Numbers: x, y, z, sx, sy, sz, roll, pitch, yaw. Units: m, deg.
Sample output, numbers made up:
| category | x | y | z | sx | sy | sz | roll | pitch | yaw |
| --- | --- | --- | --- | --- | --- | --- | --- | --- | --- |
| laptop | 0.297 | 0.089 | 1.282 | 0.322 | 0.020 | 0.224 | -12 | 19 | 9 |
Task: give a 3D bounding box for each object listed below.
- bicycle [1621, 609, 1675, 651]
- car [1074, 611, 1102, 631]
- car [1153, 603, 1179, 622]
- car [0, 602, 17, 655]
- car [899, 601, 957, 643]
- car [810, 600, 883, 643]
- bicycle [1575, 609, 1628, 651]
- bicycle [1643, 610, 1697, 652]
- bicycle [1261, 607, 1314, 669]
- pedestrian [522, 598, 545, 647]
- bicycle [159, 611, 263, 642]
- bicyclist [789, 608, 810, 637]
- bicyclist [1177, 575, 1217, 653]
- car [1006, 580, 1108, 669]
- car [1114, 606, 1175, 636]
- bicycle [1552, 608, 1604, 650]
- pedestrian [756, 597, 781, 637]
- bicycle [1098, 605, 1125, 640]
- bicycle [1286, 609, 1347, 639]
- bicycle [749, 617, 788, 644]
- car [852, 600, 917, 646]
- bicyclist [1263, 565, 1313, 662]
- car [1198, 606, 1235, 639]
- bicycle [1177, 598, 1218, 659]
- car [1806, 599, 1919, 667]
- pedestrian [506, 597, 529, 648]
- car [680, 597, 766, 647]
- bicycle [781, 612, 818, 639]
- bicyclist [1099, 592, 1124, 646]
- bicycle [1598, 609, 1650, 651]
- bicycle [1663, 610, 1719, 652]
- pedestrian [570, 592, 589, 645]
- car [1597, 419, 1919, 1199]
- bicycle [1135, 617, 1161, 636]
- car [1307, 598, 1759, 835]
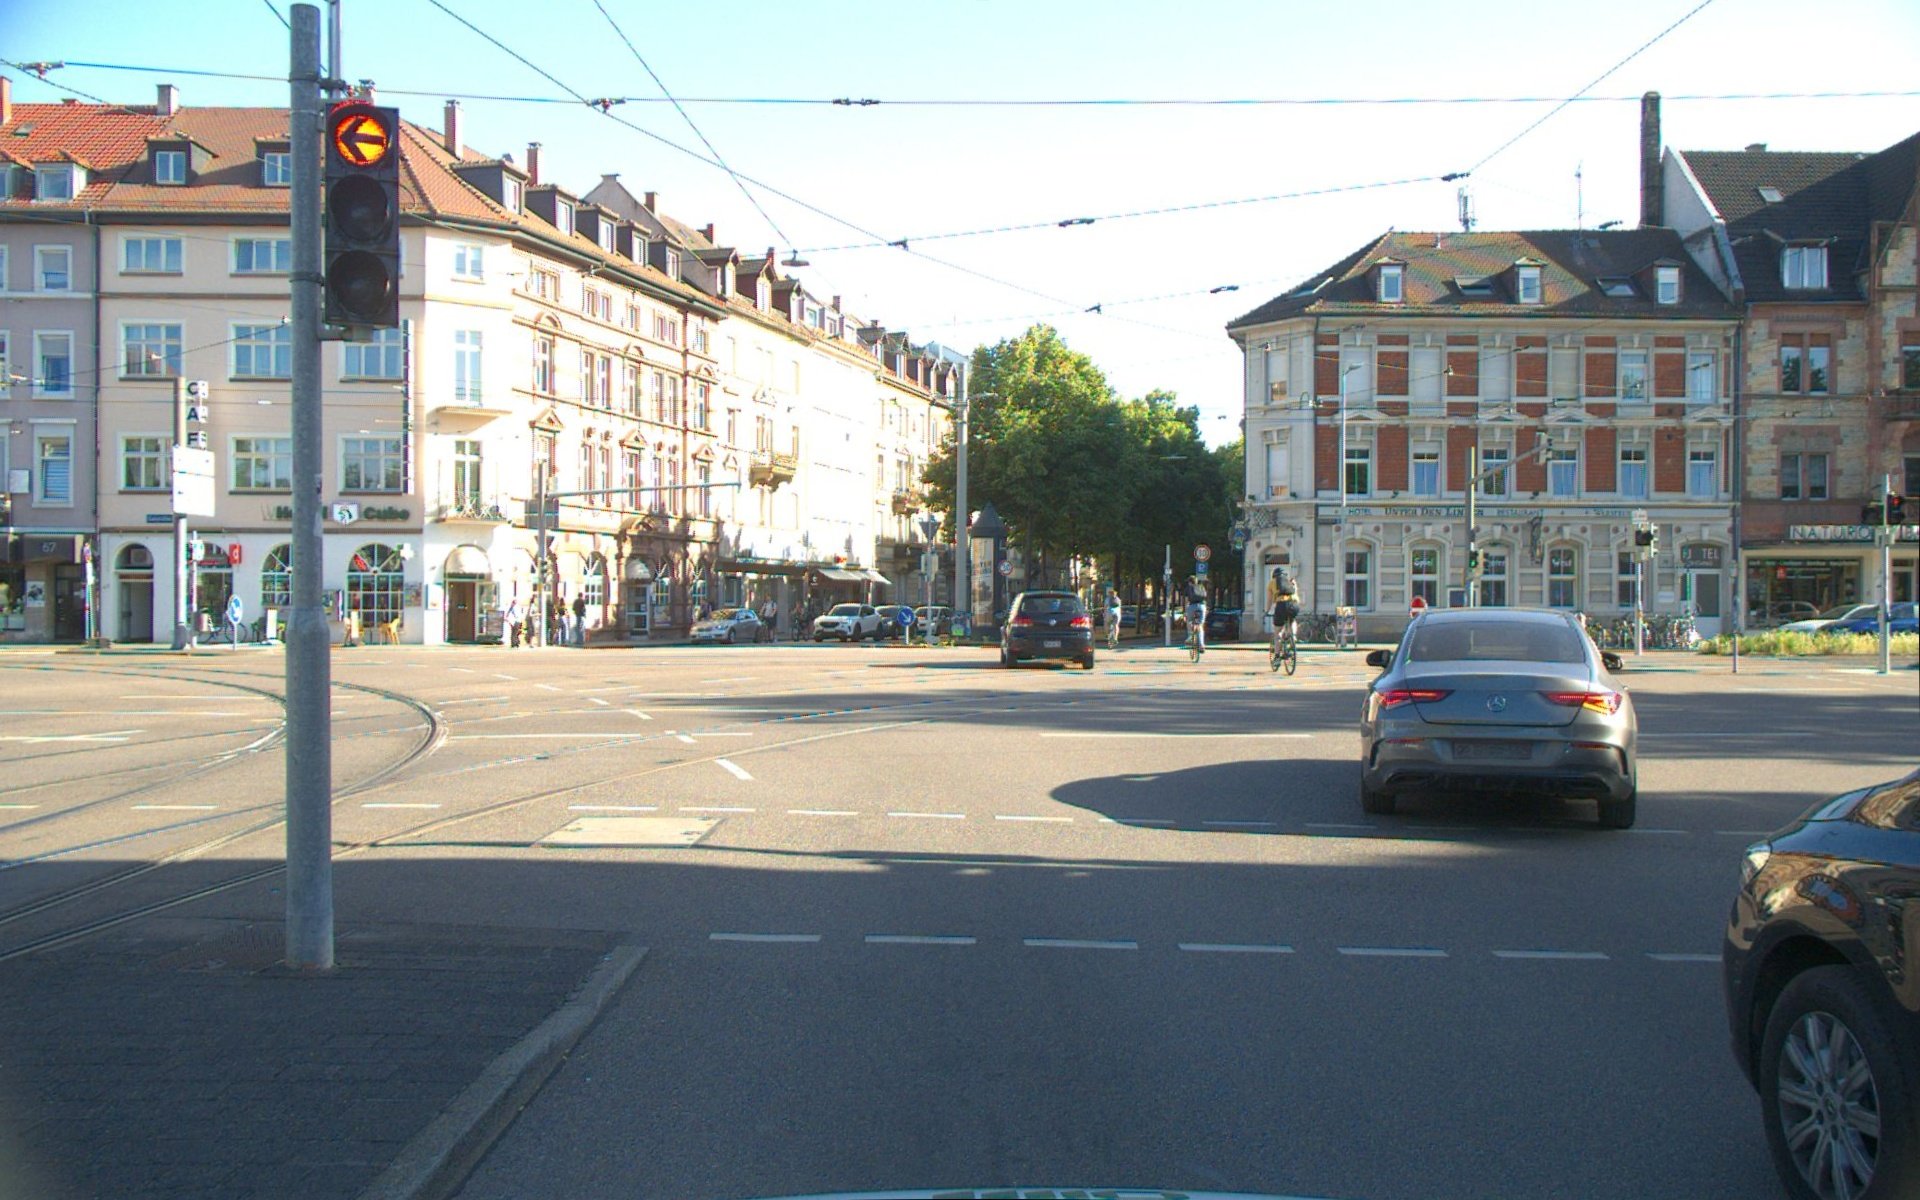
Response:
| category | x | y | z | sx | sy | sz | roll | pitch | yaw |
| --- | --- | --- | --- | --- | --- | --- | --- | --- | --- |
| bicycle | 22.086 | 0.955 | 53.154 | 0.615 | 1.309 | 2.661 | 1 | 0 | 0 |
| car | 10.537 | 1.719 | 136.217 | 1.526 | 1.540 | 3.658 | 1 | 0 | 16 |
| car | 16.790 | 1.040 | 134.849 | 1.526 | 1.540 | 3.658 | 1 | 0 | 16 |
| car | -32.384 | 0.913 | 52.433 | 3.902 | 1.699 | 2.002 | 0 | 0 | 8 |
| car | -1.511 | 1.063 | 79.766 | 1.951 | 1.937 | 4.003 | 1 | 0 | 11 |
| car | -4.575 | 0.869 | 67.124 | 1.951 | 1.646 | 4.003 | 1 | 0 | 11 |
| bicycle | 20.597 | 0.935 | 53.129 | 0.678 | 1.309 | 2.661 | 1 | 0 | 0 |
| bicycle | 22.800 | 0.969 | 53.178 | 0.615 | 1.309 | 2.661 | 1 | 0 | 0 |
| bicycle | 5.879 | 0.666 | 29.625 | 0.739 | 1.049 | 1.781 | 1 | 0 | 17 |
| pedestrian | -14.685 | 0.776 | 57.020 | 0.620 | 1.662 | 0.700 | 1 | -1 | -4 |
| bicycle | -25.514 | 0.898 | 56.354 | 3.066 | 0.997 | 1.001 | 1 | 0 | -1 |
| bicyclist | -6.818 | 0.943 | 70.190 | 0.618 | 1.205 | 0.685 | 1 | -1 | 20 |
| bicyclist | 5.093 | 0.298 | 35.611 | 0.789 | 1.634 | 0.884 | 1 | 0 | 5 |
| car | 1.862 | 0.432 | 32.720 | 1.693 | 1.534 | 4.050 | 1 | 2 | -1 |
| car | 12.854 | 1.455 | 115.154 | 3.902 | 1.937 | 2.001 | 1 | 0 | 15 |
| bicycle | 19.838 | 0.910 | 53.126 | 0.678 | 1.309 | 2.661 | 1 | 0 | 0 |
| pedestrian | -7.539 | 0.664 | 65.090 | 0.803 | 1.539 | 0.598 | 1 | -1 | 14 |
| bicycle | 4.704 | 0.699 | 51.483 | 0.636 | 1.049 | 1.771 | 1 | 0 | -1 |
| bicycle | 12.352 | 0.824 | 57.320 | 2.006 | 1.015 | 0.631 | 0 | -1 | 2 |
| bicycle | -7.527 | 1.203 | 65.161 | 0.746 | 1.025 | 2.398 | 1 | 0 | 13 |
| car | -3.332 | 1.007 | 73.670 | 1.951 | 1.937 | 4.003 | 1 | 0 | 11 |
| bicyclist | 5.832 | 0.240 | 29.387 | 0.789 | 1.692 | 0.884 | 1 | -1 | 16 |
| car | 12.871 | 1.110 | 82.778 | 1.655 | 1.592 | 3.844 | 1 | 0 | 11 |
| bicycle | 5.101 | 0.603 | 35.606 | 0.739 | 1.258 | 1.704 | 1 | 0 | 5 |
| car | 25.931 | 0.921 | 46.051 | 3.706 | 1.809 | 1.999 | 1 | 0 | -2 |
| pedestrian | -14.846 | 0.751 | 55.497 | 0.620 | 1.662 | 0.700 | 1 | -1 | -4 |
| car | -9.550 | 0.873 | 66.981 | 1.951 | 1.937 | 4.002 | 1 | 0 | 17 |
| bicycle | -6.800 | 1.072 | 70.286 | 0.637 | 1.142 | 2.253 | 1 | 0 | 20 |
| bicyclist | 4.705 | 0.595 | 51.475 | 0.675 | 1.662 | 0.883 | 1 | 0 | -1 |
| bicycle | 21.308 | 0.935 | 53.151 | 0.615 | 1.309 | 2.661 | 1 | 0 | 0 |
| bicycle | 23.485 | 0.981 | 53.176 | 0.615 | 1.309 | 2.661 | 1 | 0 | 0 |
| pedestrian | -14.044 | 0.683 | 61.024 | 0.454 | 1.914 | 0.635 | 1 | -1 | 10 |
| car | 3.000 | 0.536 | 2.940 | 1.823 | 1.836 | 4.778 | 1 | 0 | -1 |
| bicycle | 11.284 | 1.564 | 99.226 | 0.619 | 1.104 | 1.685 | 1 | 0 | -31 |
| car | 4.035 | 0.733 | 12.524 | 1.868 | 1.444 | 4.492 | 1 | 0 | 0 |
